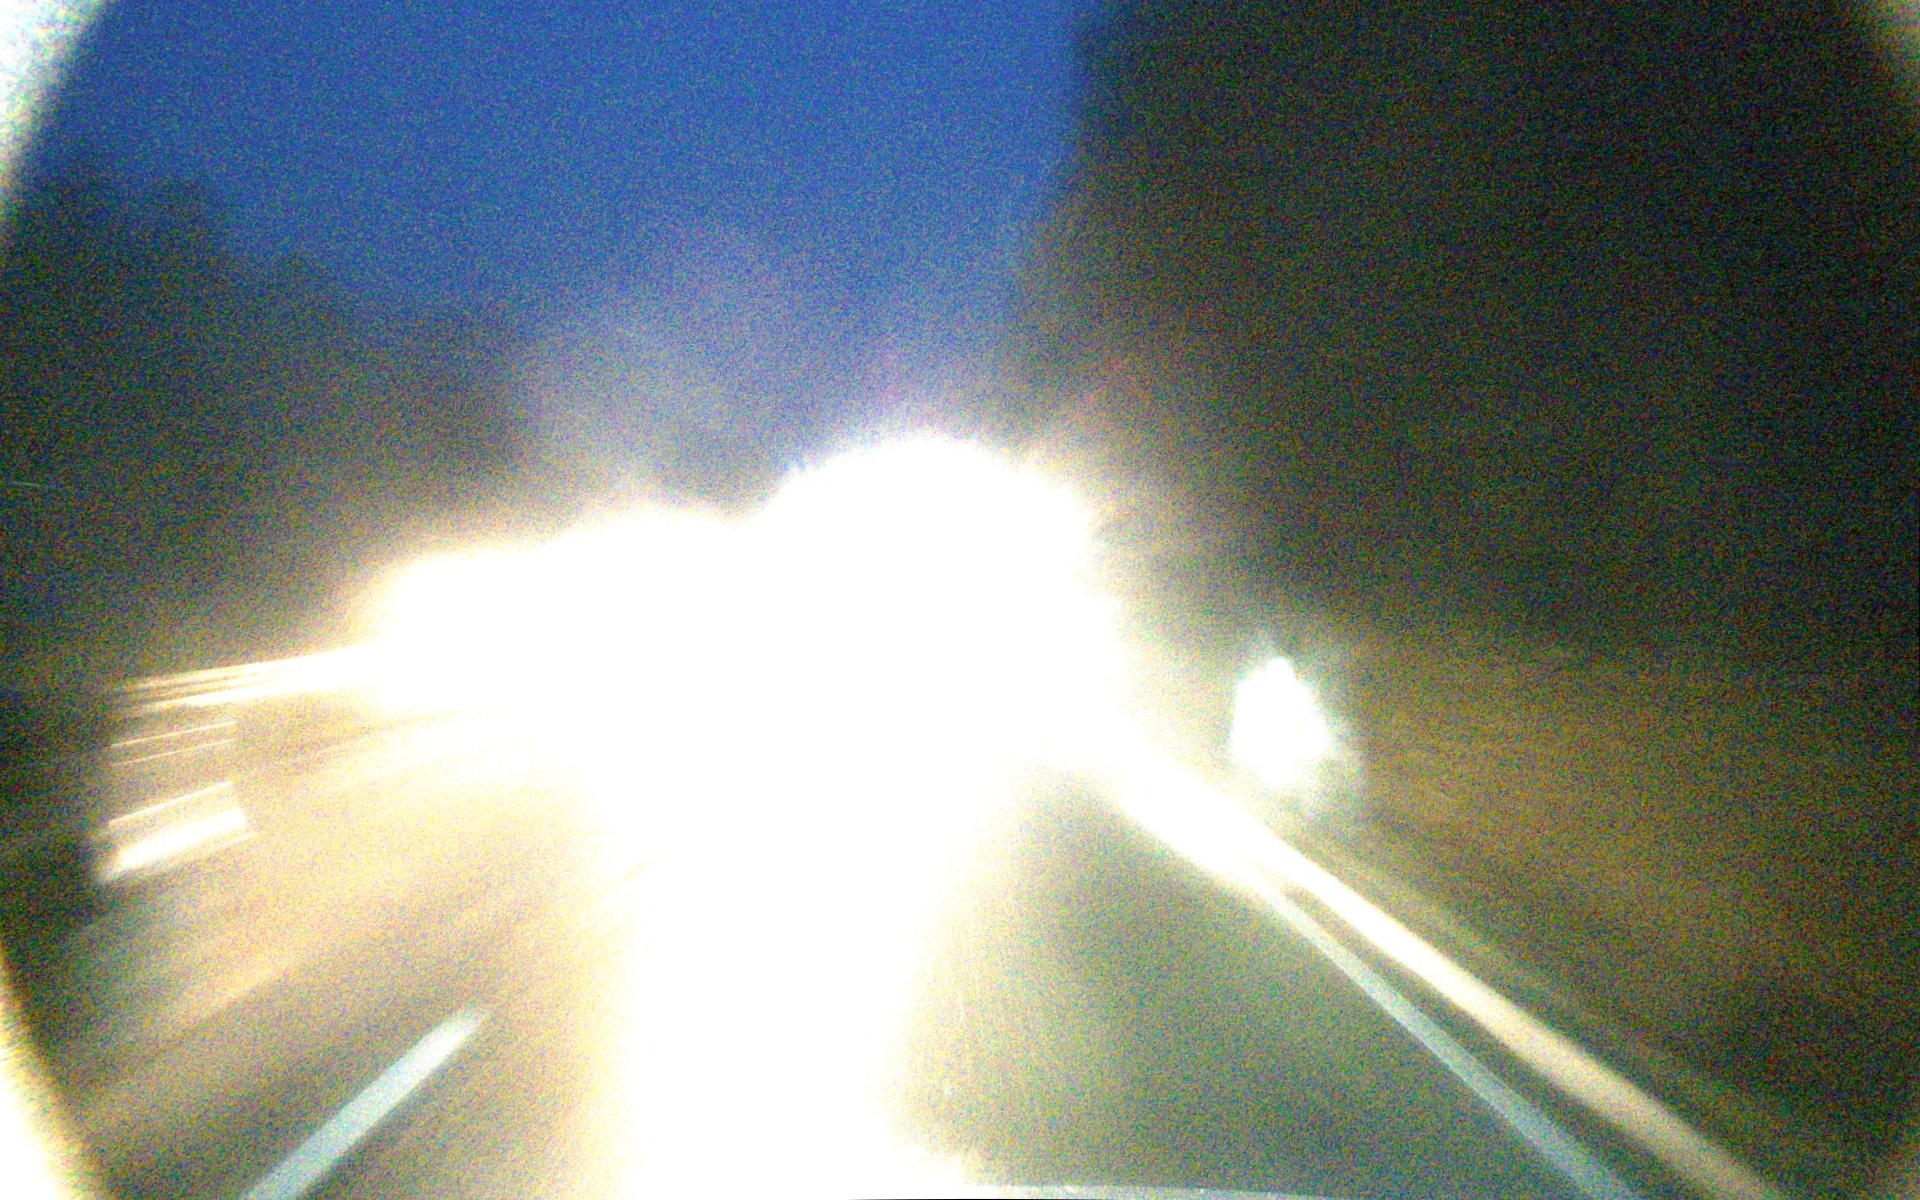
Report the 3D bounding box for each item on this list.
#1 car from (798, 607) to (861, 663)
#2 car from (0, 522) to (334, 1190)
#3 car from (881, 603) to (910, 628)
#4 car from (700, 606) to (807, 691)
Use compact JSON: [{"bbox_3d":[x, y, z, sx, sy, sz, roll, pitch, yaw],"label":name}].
[{"bbox_3d":[-3.769,0.981,48.217,1.612,1.450,4.121,3,0,-3],"label":"car"},{"bbox_3d":[-3.211,0.608,3.852,1.772,1.628,4.630,1,0,-1],"label":"car"},{"bbox_3d":[-3.950,0.931,101.301,1.681,1.544,3.877,0,0,-1],"label":"car"},{"bbox_3d":[-3.767,0.852,30.591,1.611,1.450,3.658,0,0,-2],"label":"car"}]
